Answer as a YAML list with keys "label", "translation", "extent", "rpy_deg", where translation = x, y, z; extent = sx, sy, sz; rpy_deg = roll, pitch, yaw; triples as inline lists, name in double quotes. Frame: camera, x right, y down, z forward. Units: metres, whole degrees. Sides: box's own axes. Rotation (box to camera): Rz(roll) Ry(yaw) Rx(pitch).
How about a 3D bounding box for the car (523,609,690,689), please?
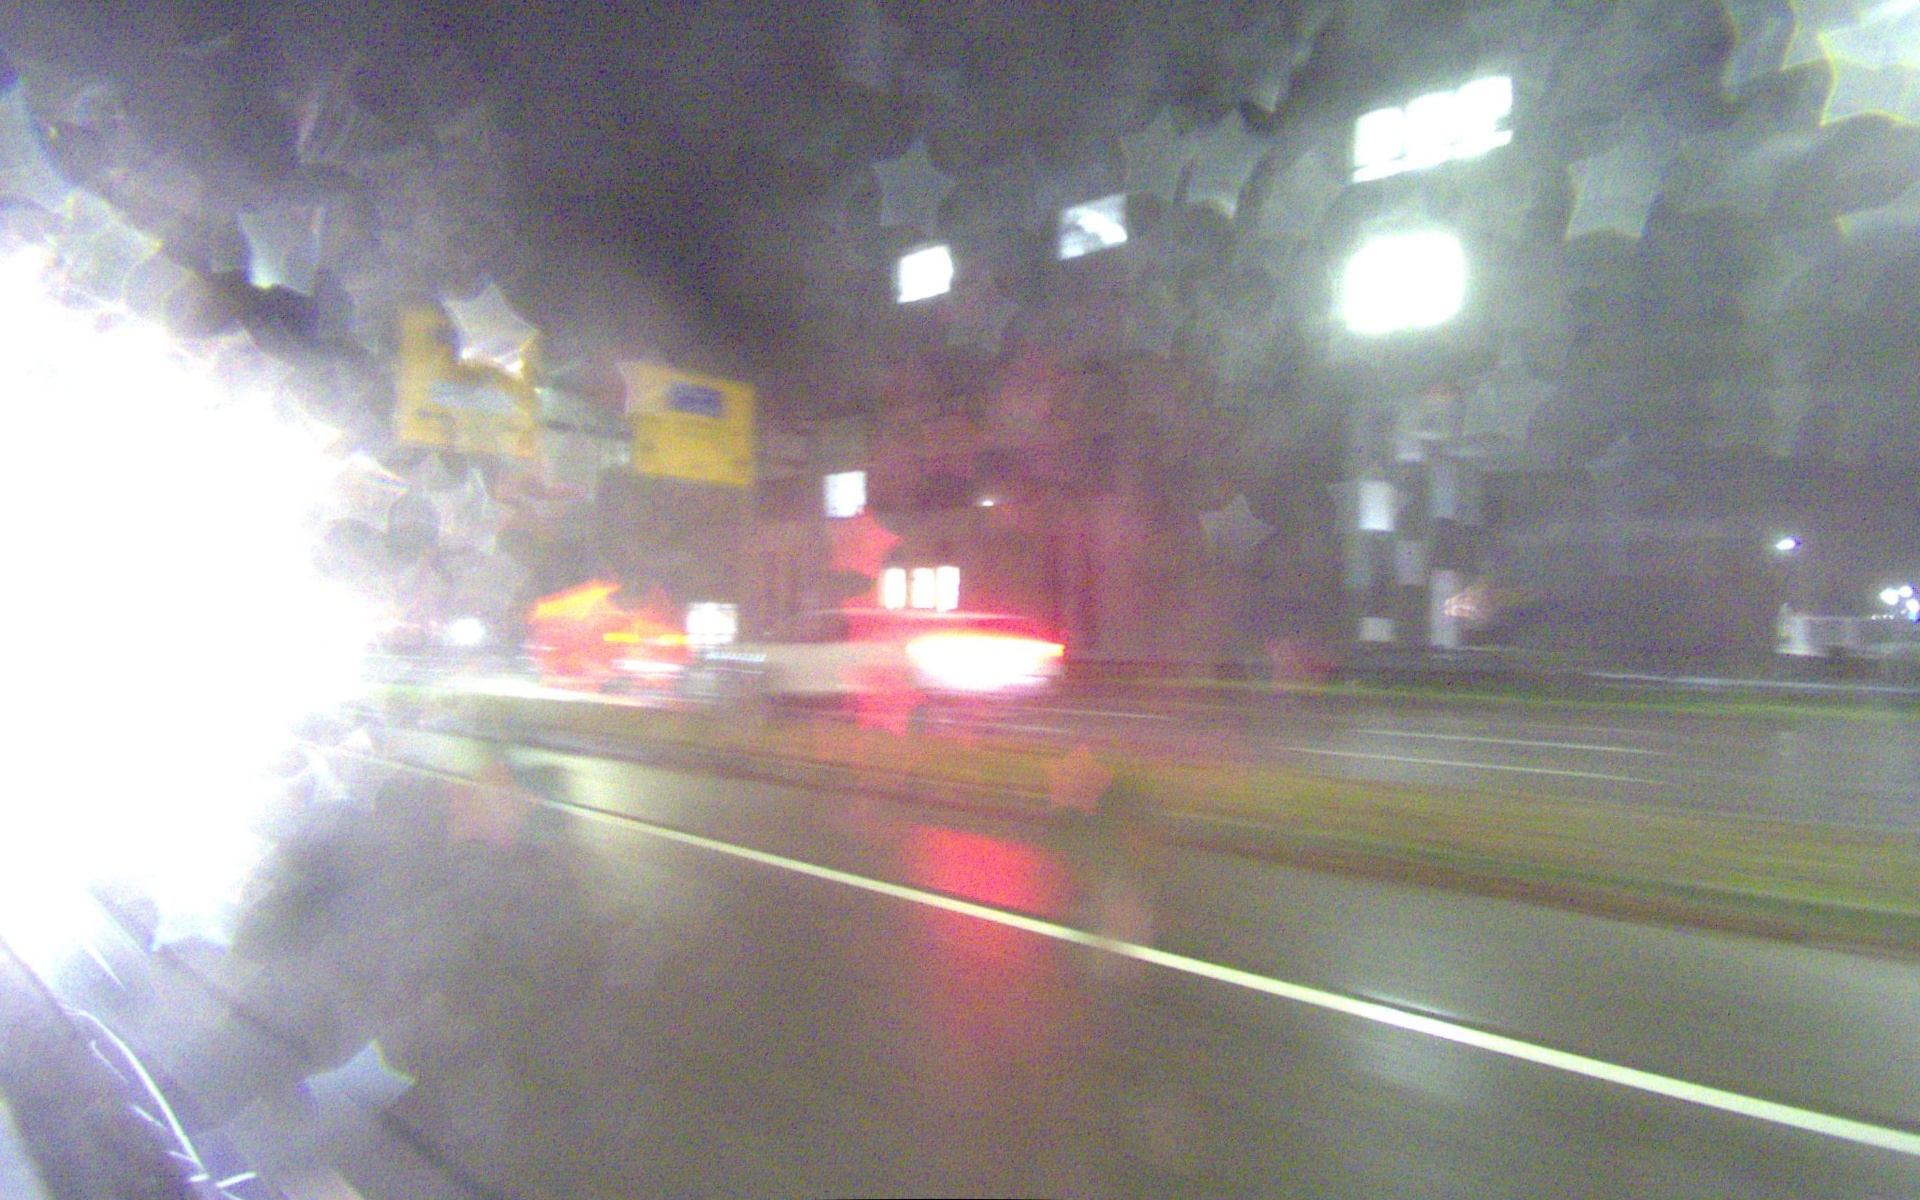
- label: "car"
  translation: [-7.824, 1.019, 22.247]
  extent: [3.815, 1.589, 1.690]
  rpy_deg: [-1, 0, 38]

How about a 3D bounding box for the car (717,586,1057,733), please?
- label: "car"
  translation: [-1.039, 0.726, 13.099]
  extent: [4.251, 1.605, 1.825]
  rpy_deg: [-1, -4, 38]

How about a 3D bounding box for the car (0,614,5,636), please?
- label: "car"
  translation: [-71.904, 1.851, 74.577]
  extent: [3.815, 1.589, 1.690]
  rpy_deg: [-1, 0, 38]
